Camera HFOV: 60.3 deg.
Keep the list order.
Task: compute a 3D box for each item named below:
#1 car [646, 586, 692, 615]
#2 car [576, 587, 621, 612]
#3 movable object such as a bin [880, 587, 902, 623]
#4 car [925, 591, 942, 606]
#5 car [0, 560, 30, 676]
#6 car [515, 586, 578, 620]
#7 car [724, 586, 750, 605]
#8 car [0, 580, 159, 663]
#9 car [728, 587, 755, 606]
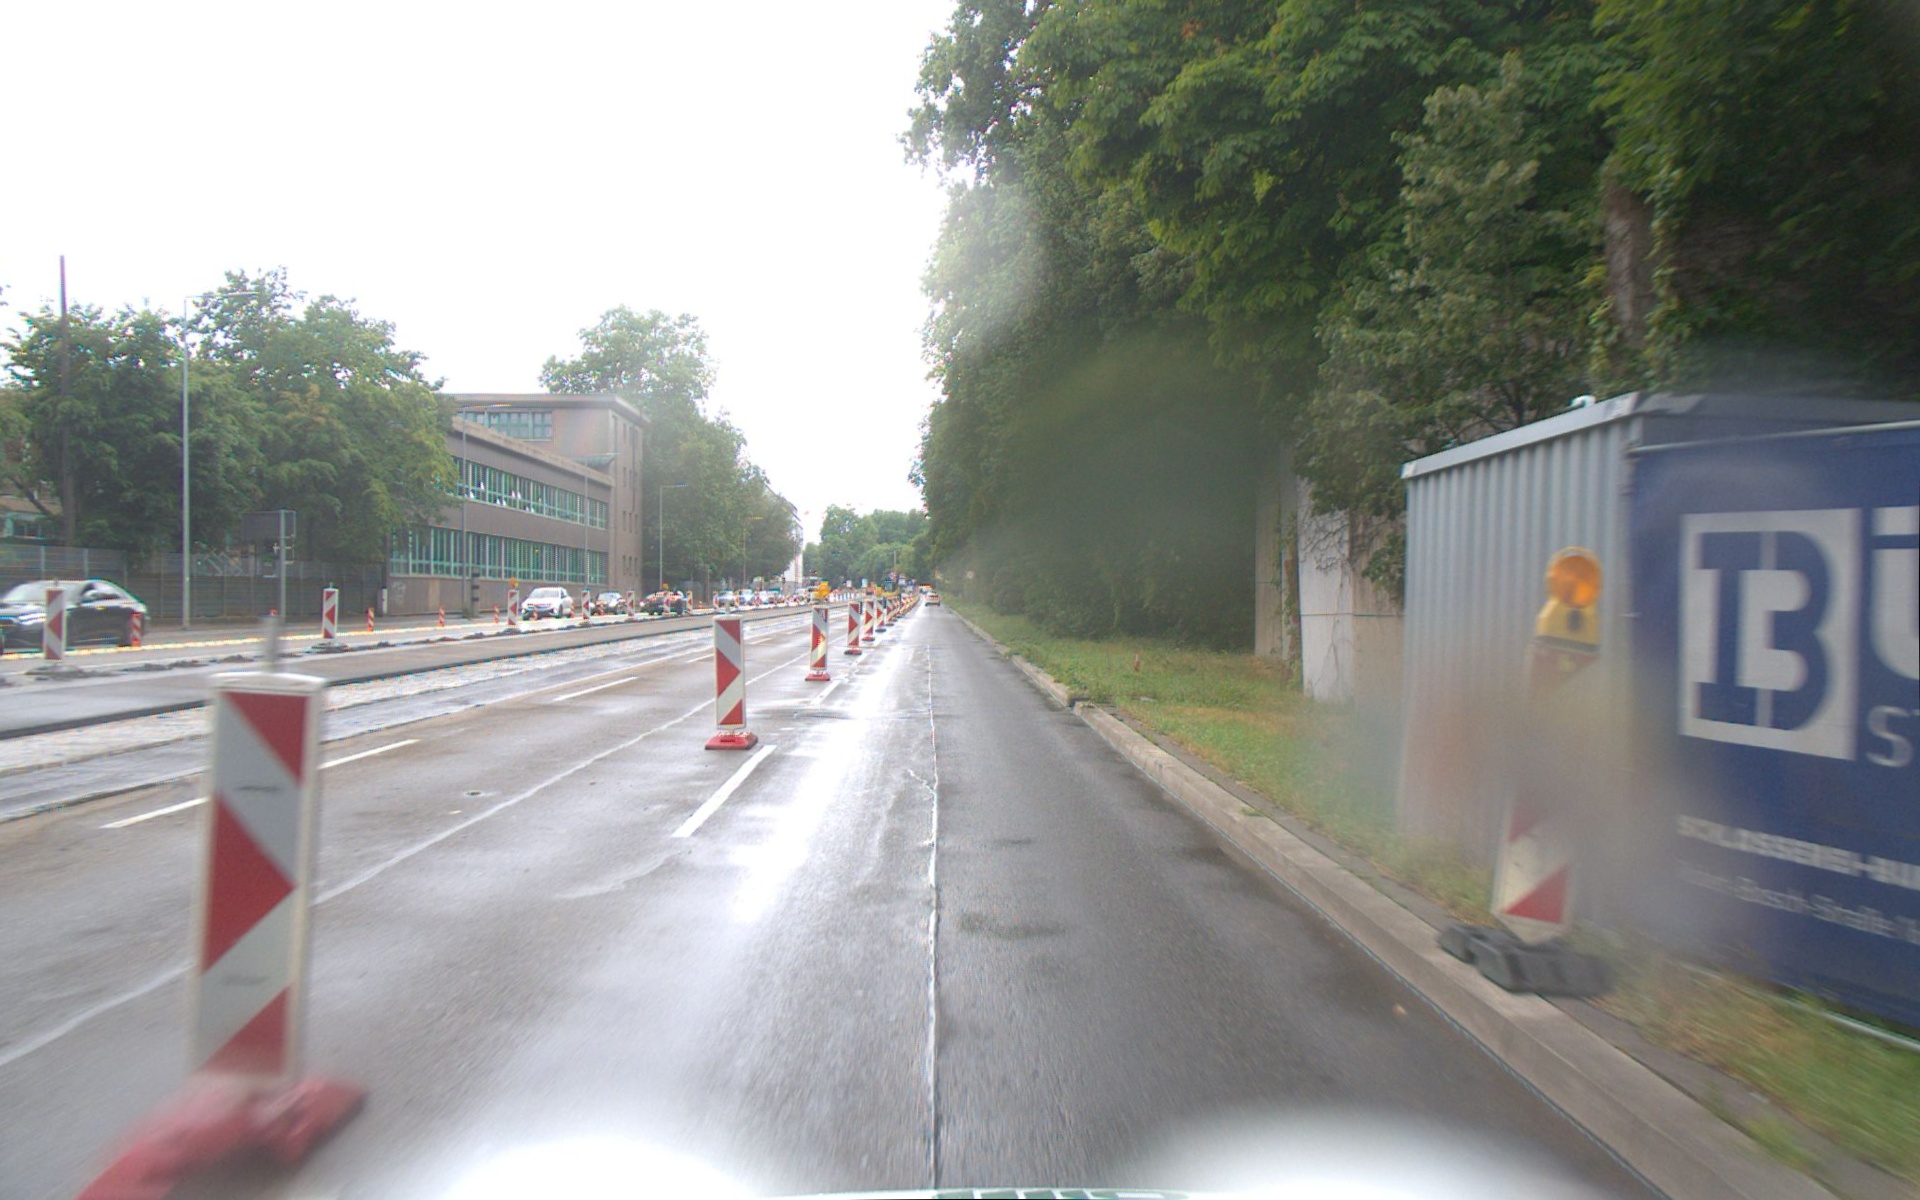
[{"bbox_3d":[-16.272,0.042,92.669,1.953,1.545,3.999,1,0,-1],"label":"car"},{"bbox_3d":[-22.309,-0.047,102.192,1.953,1.454,4.263,1,0,-2],"label":"car"},{"bbox_3d":[-6.714,0.495,161.403,1.953,3.426,5.981,1,0,-1],"label":"movable object such as a bin"},{"bbox_3d":[-3.181,-0.157,197.564,1.953,1.702,3.999,1,0,-1],"label":"car"},{"bbox_3d":[-14.712,0.237,22.565,1.817,1.677,3.999,1,0,-1],"label":"car"},{"bbox_3d":[-19.576,0.120,78.506,1.953,1.539,4.265,1,0,-1],"label":"car"},{"bbox_3d":[-19.346,-0.393,143.577,1.767,1.561,3.991,1,0,-1],"label":"car"},{"bbox_3d":[-18.617,0.390,33.842,2.036,1.539,5.088,1,0,-1],"label":"car"},{"bbox_3d":[-20.962,-0.343,158.647,1.948,1.799,4.674,1,0,0],"label":"car"}]
